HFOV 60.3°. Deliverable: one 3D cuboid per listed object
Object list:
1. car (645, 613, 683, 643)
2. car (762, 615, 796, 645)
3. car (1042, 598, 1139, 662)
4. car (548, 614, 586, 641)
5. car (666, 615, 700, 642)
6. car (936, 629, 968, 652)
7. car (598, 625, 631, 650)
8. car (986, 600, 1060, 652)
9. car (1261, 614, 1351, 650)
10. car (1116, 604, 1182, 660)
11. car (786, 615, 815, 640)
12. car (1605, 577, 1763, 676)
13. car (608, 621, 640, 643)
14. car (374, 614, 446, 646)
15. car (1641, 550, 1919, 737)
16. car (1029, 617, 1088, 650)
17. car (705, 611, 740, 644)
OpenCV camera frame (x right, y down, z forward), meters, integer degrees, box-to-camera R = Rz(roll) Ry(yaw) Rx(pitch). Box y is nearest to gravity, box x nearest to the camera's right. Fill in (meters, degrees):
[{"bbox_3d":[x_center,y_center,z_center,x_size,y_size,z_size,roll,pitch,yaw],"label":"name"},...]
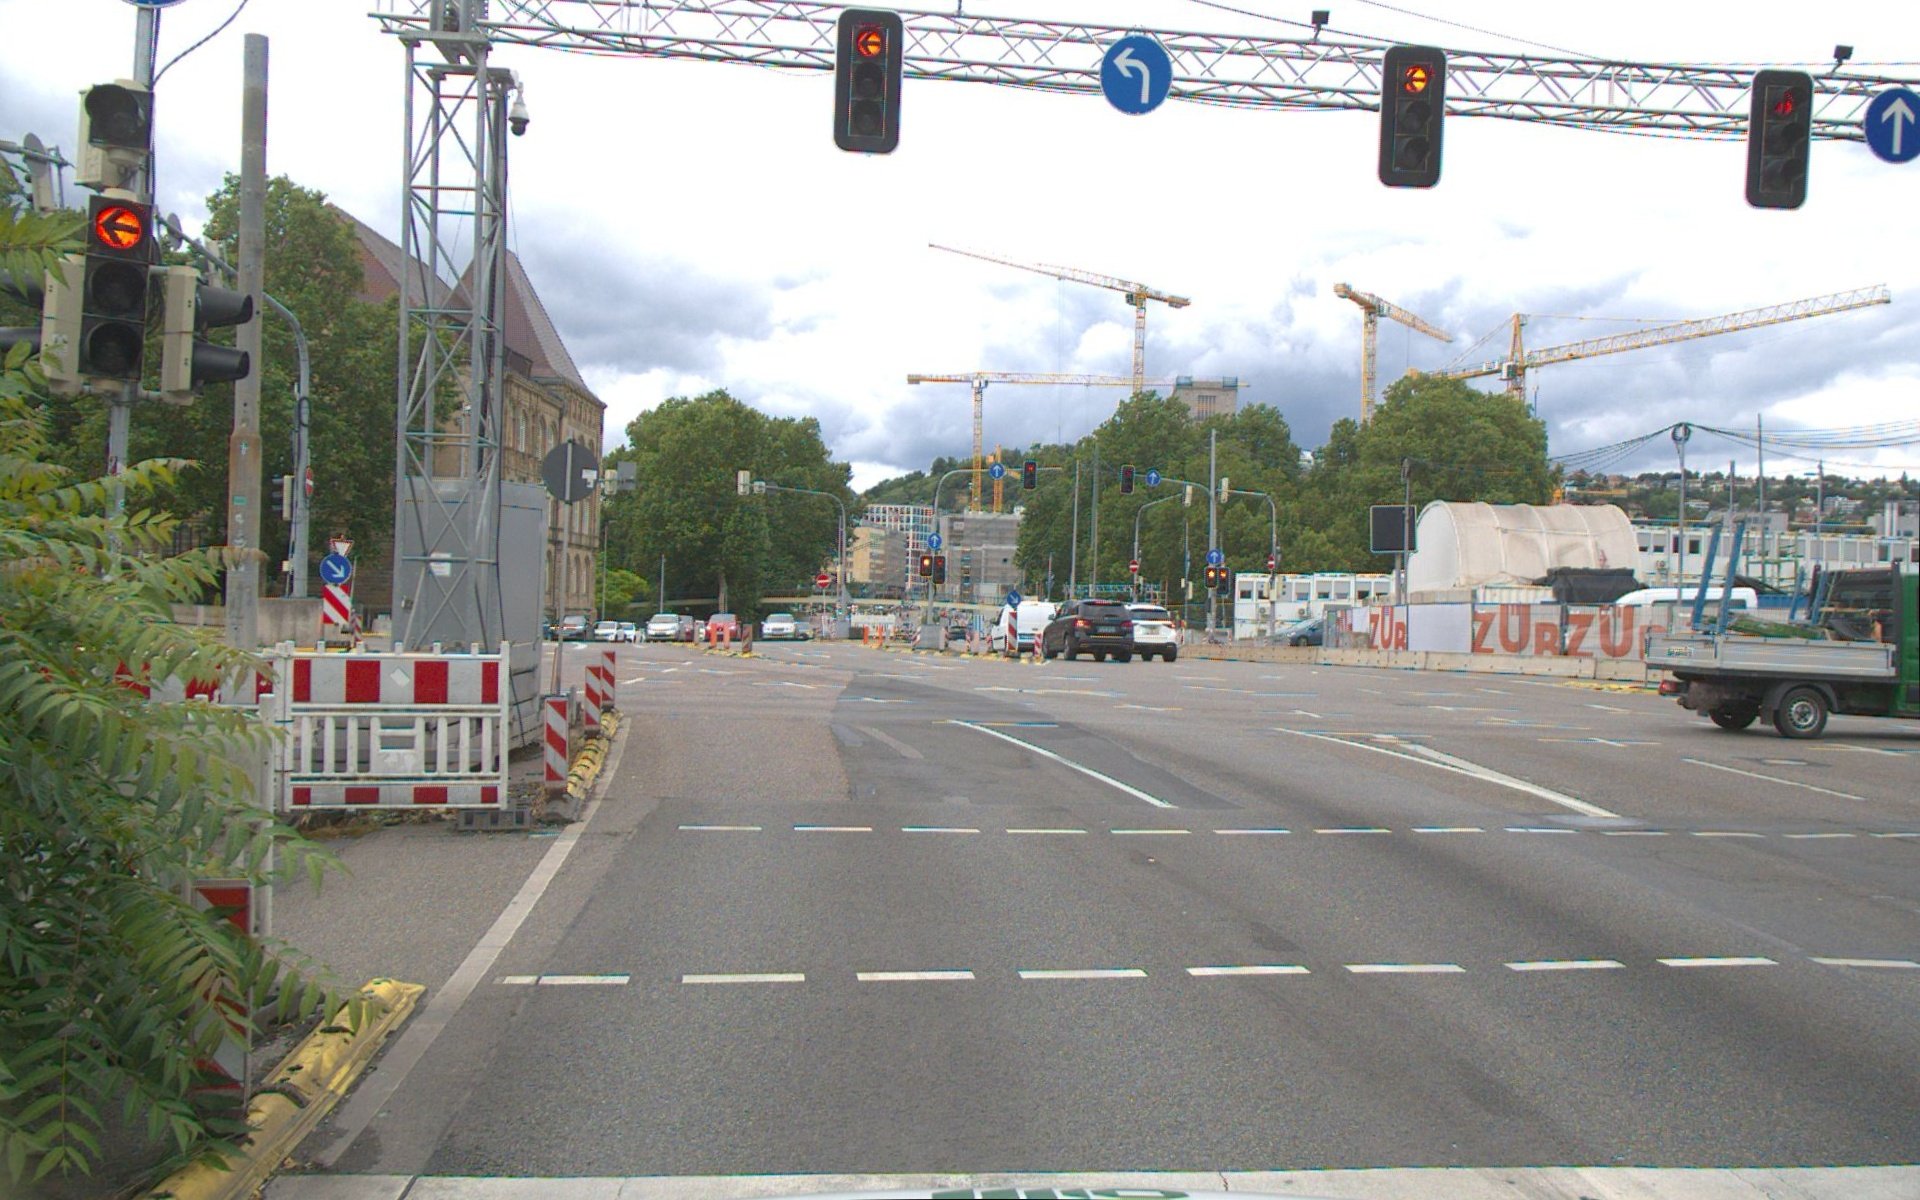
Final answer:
[{"bbox_3d":[-15.260,1.428,85.373,1.644,1.422,3.677,1,0,-7],"label":"car"},{"bbox_3d":[-9.296,1.529,84.859,1.644,1.422,3.677,1,0,-7],"label":"car"},{"bbox_3d":[3.775,0.842,48.524,1.799,1.776,4.245,1,0,-10],"label":"car"},{"bbox_3d":[-21.846,1.519,91.997,1.644,1.422,3.677,1,0,-7],"label":"car"},{"bbox_3d":[-15.300,1.557,91.532,1.644,1.422,3.677,1,0,-7],"label":"car"},{"bbox_3d":[-0.552,2.715,110.585,1.645,1.422,3.675,1,0,-9],"label":"car"},{"bbox_3d":[-21.100,2.255,101.148,1.644,1.422,3.677,1,0,-7],"label":"car"},{"bbox_3d":[2.077,0.852,55.545,1.783,1.653,3.993,1,0,-8],"label":"car"},{"bbox_3d":[16.898,1.555,80.767,3.927,1.653,1.812,1,0,-20],"label":"car"},{"bbox_3d":[6.037,0.999,53.123,1.642,1.732,3.374,1,0,-1],"label":"car"},{"bbox_3d":[-9.706,1.653,100.262,1.644,1.422,3.677,1,0,-7],"label":"car"},{"bbox_3d":[20.819,0.746,47.676,3.902,2.708,1.683,1,0,13],"label":"car"},{"bbox_3d":[-21.952,2.103,108.207,1.644,1.423,3.678,1,-2,-6],"label":"car"},{"bbox_3d":[-25.840,1.406,77.847,1.640,1.422,3.686,1,0,10],"label":"car"},{"bbox_3d":[12.506,0.589,22.399,5.644,2.345,2.302,1,0,-3],"label":"car"},{"bbox_3d":[4.508,1.513,76.033,1.650,1.422,3.070,1,0,-19],"label":"car"},{"bbox_3d":[-12.127,1.386,84.512,1.644,1.608,3.677,1,0,-7],"label":"car"}]
